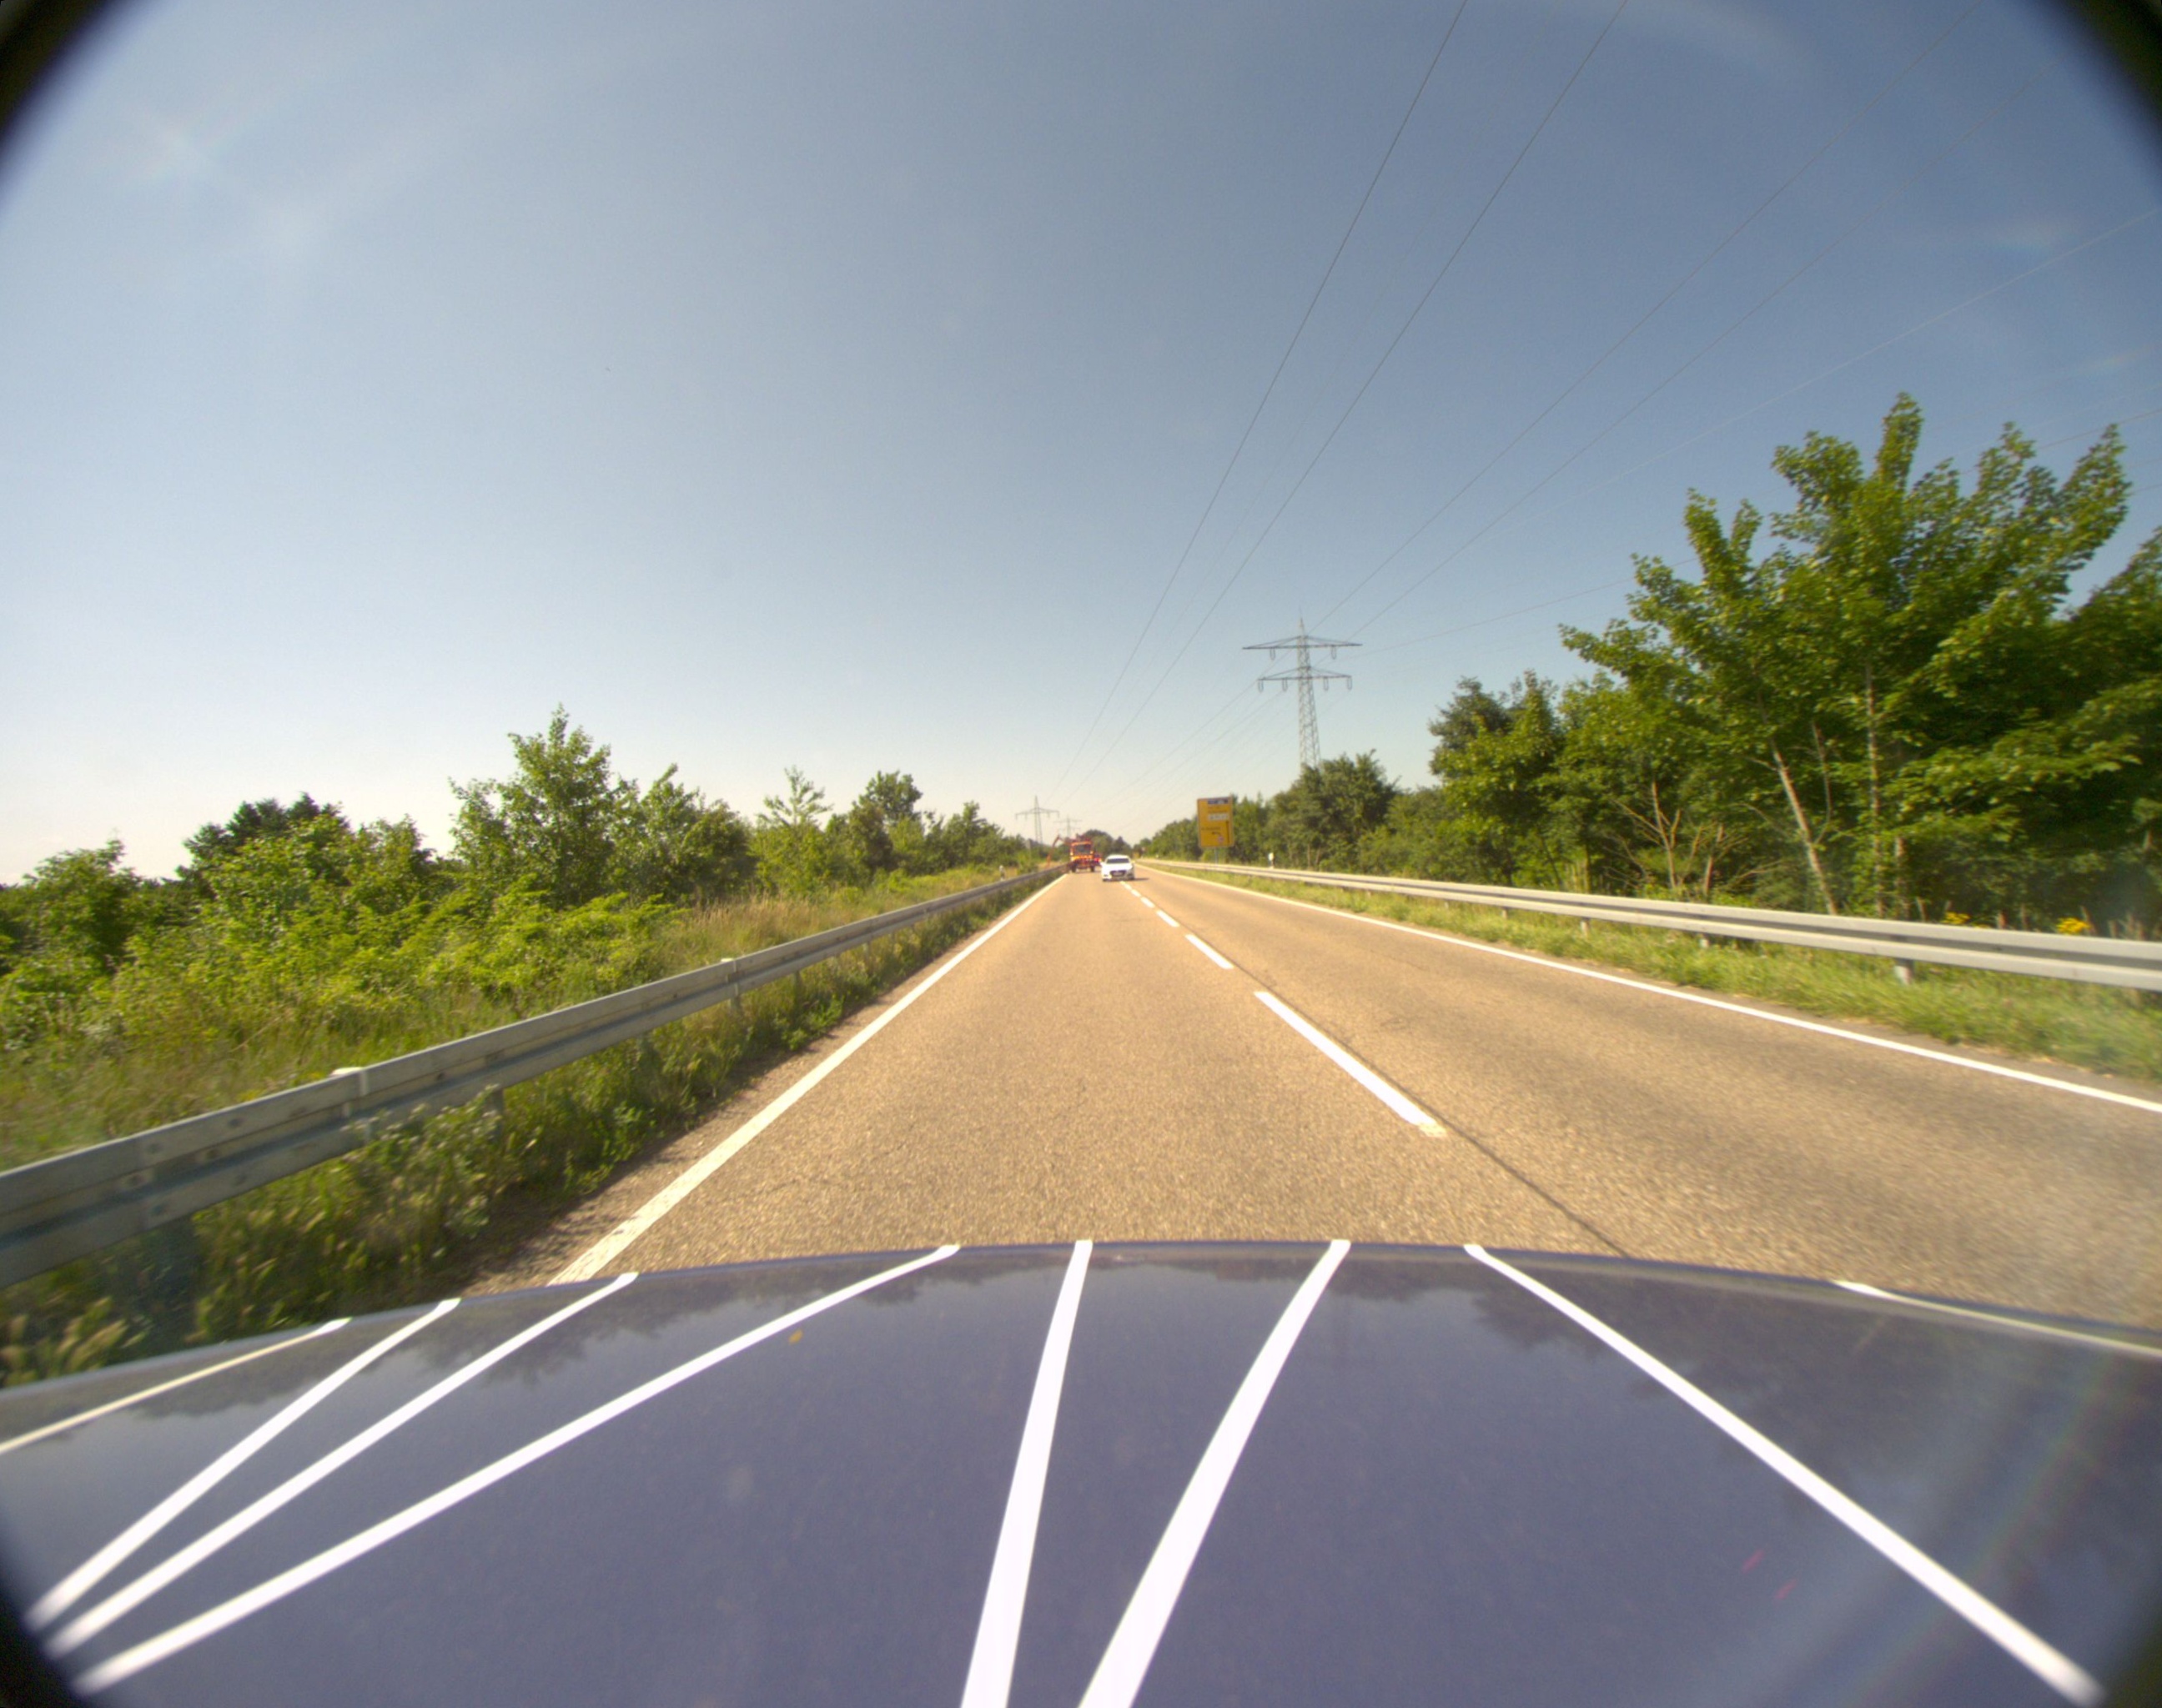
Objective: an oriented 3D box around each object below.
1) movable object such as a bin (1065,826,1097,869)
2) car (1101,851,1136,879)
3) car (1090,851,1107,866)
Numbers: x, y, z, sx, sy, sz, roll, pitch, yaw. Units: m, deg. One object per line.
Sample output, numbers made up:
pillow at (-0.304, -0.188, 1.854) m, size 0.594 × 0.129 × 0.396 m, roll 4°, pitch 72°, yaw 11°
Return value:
movable object such as a bin at (0.047, -0.572, 73.993) m, size 2.760 × 3.817 × 9.445 m, roll -2°, pitch 0°, yaw 1°
car at (2.173, 0.626, 45.193) m, size 1.922 × 1.496 × 4.794 m, roll -2°, pitch 0°, yaw 2°
car at (2.452, 0.610, 108.197) m, size 2.126 × 1.934 × 5.019 m, roll -2°, pitch 0°, yaw -1°
